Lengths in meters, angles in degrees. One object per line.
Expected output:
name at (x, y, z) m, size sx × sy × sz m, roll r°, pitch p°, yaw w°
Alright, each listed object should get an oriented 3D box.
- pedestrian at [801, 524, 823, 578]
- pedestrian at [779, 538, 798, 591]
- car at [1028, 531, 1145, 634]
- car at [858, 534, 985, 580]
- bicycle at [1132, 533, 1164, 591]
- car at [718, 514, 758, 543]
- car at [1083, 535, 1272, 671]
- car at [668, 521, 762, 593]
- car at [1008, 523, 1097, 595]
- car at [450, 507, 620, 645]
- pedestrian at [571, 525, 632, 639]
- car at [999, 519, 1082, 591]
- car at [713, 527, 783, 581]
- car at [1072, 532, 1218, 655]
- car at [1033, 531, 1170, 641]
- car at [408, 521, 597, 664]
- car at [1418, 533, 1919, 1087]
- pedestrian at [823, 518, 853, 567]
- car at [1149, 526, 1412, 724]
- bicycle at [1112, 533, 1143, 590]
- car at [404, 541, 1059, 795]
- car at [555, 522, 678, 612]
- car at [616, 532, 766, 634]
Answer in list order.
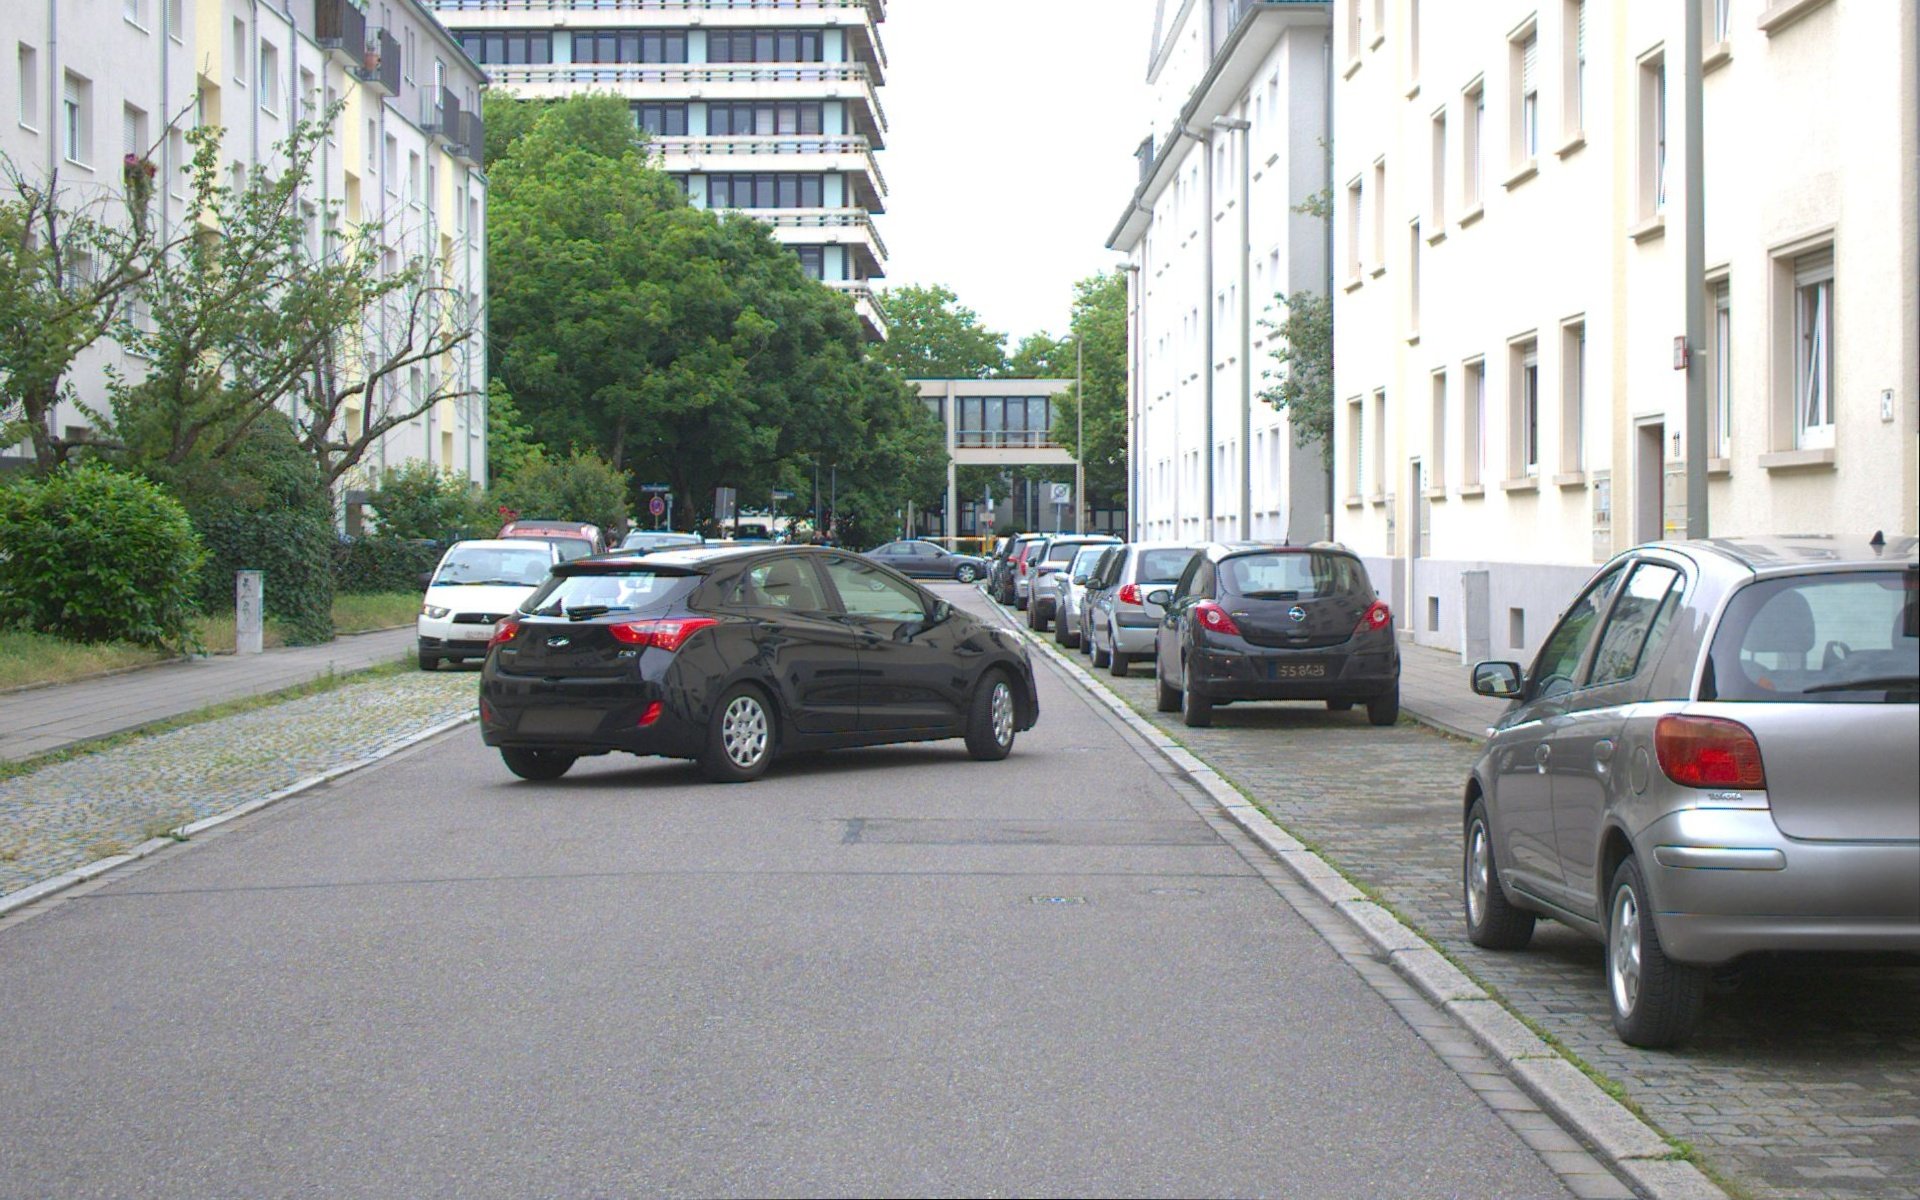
pedestrian at (-5.108, -1.688, 118.586) m, size 0.714 × 1.825 × 0.797 m, roll 0°, pitch 1°, yaw 2°
pedestrian at (-5.903, -1.222, 118.195) m, size 0.605 × 1.825 × 0.675 m, roll 0°, pitch 1°, yaw 1°
car at (2.096, -0.325, 57.937) m, size 1.820 × 1.636 × 4.091 m, roll 1°, pitch 1°, yaw 0°
car at (-1.273, -1.426, 113.256) m, size 4.143 × 1.492 × 1.810 m, roll 0°, pitch 1°, yaw -2°
bicycle at (3.966, -0.812, 72.450) m, size 0.576 × 1.171 × 2.036 m, roll -1°, pitch 1°, yaw 5°
car at (-10.359, -3.333, 160.353) m, size 1.665 × 1.328 × 3.396 m, roll 0°, pitch 2°, yaw 0°
car at (2.393, -0.004, 38.706) m, size 1.848 × 1.445 × 3.833 m, roll 0°, pitch 1°, yaw 0°
car at (-5.775, -1.033, 81.535) m, size 1.895 × 1.593 × 4.521 m, roll 2°, pitch 1°, yaw -1°
car at (1.969, -0.900, 74.203) m, size 1.820 × 1.498 × 4.091 m, roll 0°, pitch 1°, yaw 0°
car at (-5.717, -0.357, 46.692) m, size 1.956 × 1.764 × 4.362 m, roll 1°, pitch 1°, yaw -3°
pedestrian at (-5.412, -0.281, 51.848) m, size 0.740 × 1.696 × 0.796 m, roll -1°, pitch 1°, yaw -18°
car at (1.822, -1.055, 78.937) m, size 1.820 × 1.597 × 4.091 m, roll 0°, pitch 1°, yaw 0°
car at (-6.282, -1.392, 102.160) m, size 1.993 × 1.535 × 4.001 m, roll 1°, pitch 1°, yaw -3°
car at (2.313, -0.116, 43.840) m, size 1.603 × 1.471 × 3.869 m, roll 1°, pitch 1°, yaw 0°
car at (1.975, -0.238, 48.980) m, size 1.725 × 1.471 × 4.505 m, roll 1°, pitch 1°, yaw 0°
car at (-5.374, -0.126, 40.801) m, size 1.720 × 1.564 × 3.870 m, roll 2°, pitch 1°, yaw -1°
car at (2.699, 0.541, 11.528) m, size 1.725 × 1.512 × 4.061 m, roll 0°, pitch 1°, yaw -1°
pedestrian at (-4.206, -1.978, 118.302) m, size 0.972 × 1.648 × 0.981 m, roll -1°, pitch 1°, yaw 1°
car at (2.570, 0.152, 28.387) m, size 1.725 × 1.512 × 4.061 m, roll 0°, pitch 1°, yaw -1°
bicycle at (3.532, -0.819, 72.485) m, size 0.530 × 1.171 × 2.036 m, roll -1°, pitch 1°, yaw 6°
car at (-1.347, 0.353, 21.915) m, size 1.907 × 1.428 × 4.224 m, roll 0°, pitch 1°, yaw 36°
car at (-5.791, -0.585, 58.350) m, size 1.744 × 1.459 × 3.786 m, roll 0°, pitch 1°, yaw -1°
car at (-4.018, -0.283, 51.949) m, size 1.845 × 1.446 × 4.501 m, roll 1°, pitch 1°, yaw 1°
